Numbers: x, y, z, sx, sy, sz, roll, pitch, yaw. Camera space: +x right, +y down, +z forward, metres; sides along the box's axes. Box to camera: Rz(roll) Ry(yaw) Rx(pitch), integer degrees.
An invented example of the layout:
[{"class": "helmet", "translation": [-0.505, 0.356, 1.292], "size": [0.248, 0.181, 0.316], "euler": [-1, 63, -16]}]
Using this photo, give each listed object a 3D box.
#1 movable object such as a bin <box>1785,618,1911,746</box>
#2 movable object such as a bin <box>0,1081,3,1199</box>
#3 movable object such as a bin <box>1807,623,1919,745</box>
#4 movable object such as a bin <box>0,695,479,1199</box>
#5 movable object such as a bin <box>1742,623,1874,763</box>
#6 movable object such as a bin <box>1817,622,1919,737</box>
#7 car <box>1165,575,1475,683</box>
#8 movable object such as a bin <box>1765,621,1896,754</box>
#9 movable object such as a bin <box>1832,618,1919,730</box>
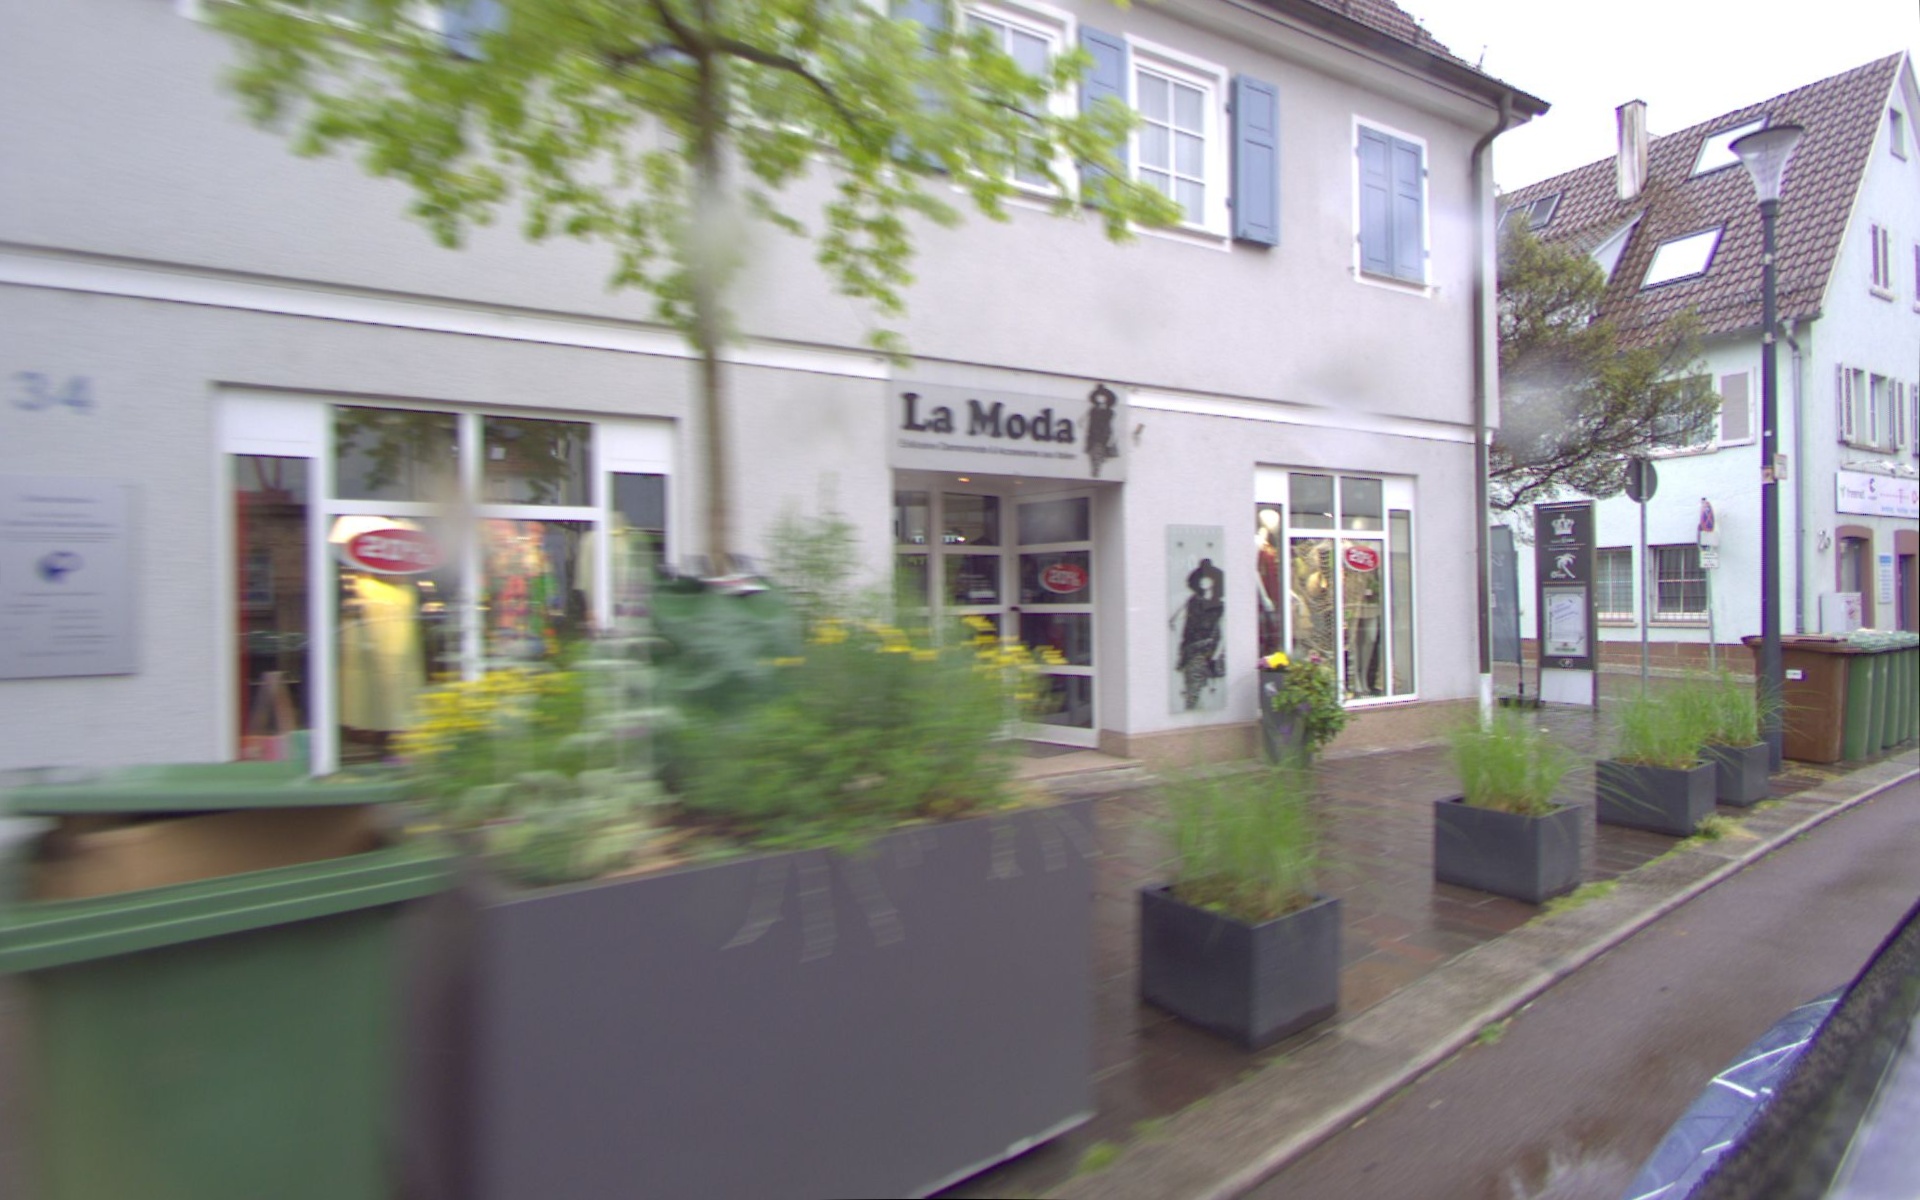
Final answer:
[{"class": "movable object such as a bin", "translation": [8.299, 0.739, 9.464], "size": [0.599, 1.112, 0.738], "euler": [-2, 0, -35]}, {"class": "movable object such as a bin", "translation": [-1.597, 0.841, 1.254], "size": [0.570, 1.118, 0.632], "euler": [-2, -1, -42]}, {"class": "movable object such as a bin", "translation": [8.765, 0.784, 9.784], "size": [0.511, 1.105, 0.731], "euler": [-2, 0, -33]}, {"class": "movable object such as a bin", "translation": [-1.199, 0.780, 1.671], "size": [0.570, 1.165, 0.632], "euler": [-2, -1, -42]}, {"class": "movable object such as a bin", "translation": [7.342, 0.776, 8.770], "size": [0.644, 1.104, 0.755], "euler": [0, 1, -37]}, {"class": "movable object such as a bin", "translation": [9.210, 0.769, 10.160], "size": [0.588, 1.077, 0.757], "euler": [-2, 0, -34]}, {"class": "car", "translation": [5.632, 0.431, 16.283], "size": [4.310, 1.620, 1.887], "euler": [0, 0, 3]}, {"class": "movable object such as a bin", "translation": [7.827, 0.756, 9.106], "size": [0.599, 1.112, 0.738], "euler": [-2, 0, -35]}, {"class": "movable object such as a bin", "translation": [9.682, 0.751, 10.516], "size": [0.587, 1.093, 0.771], "euler": [-2, 0, -34]}]
